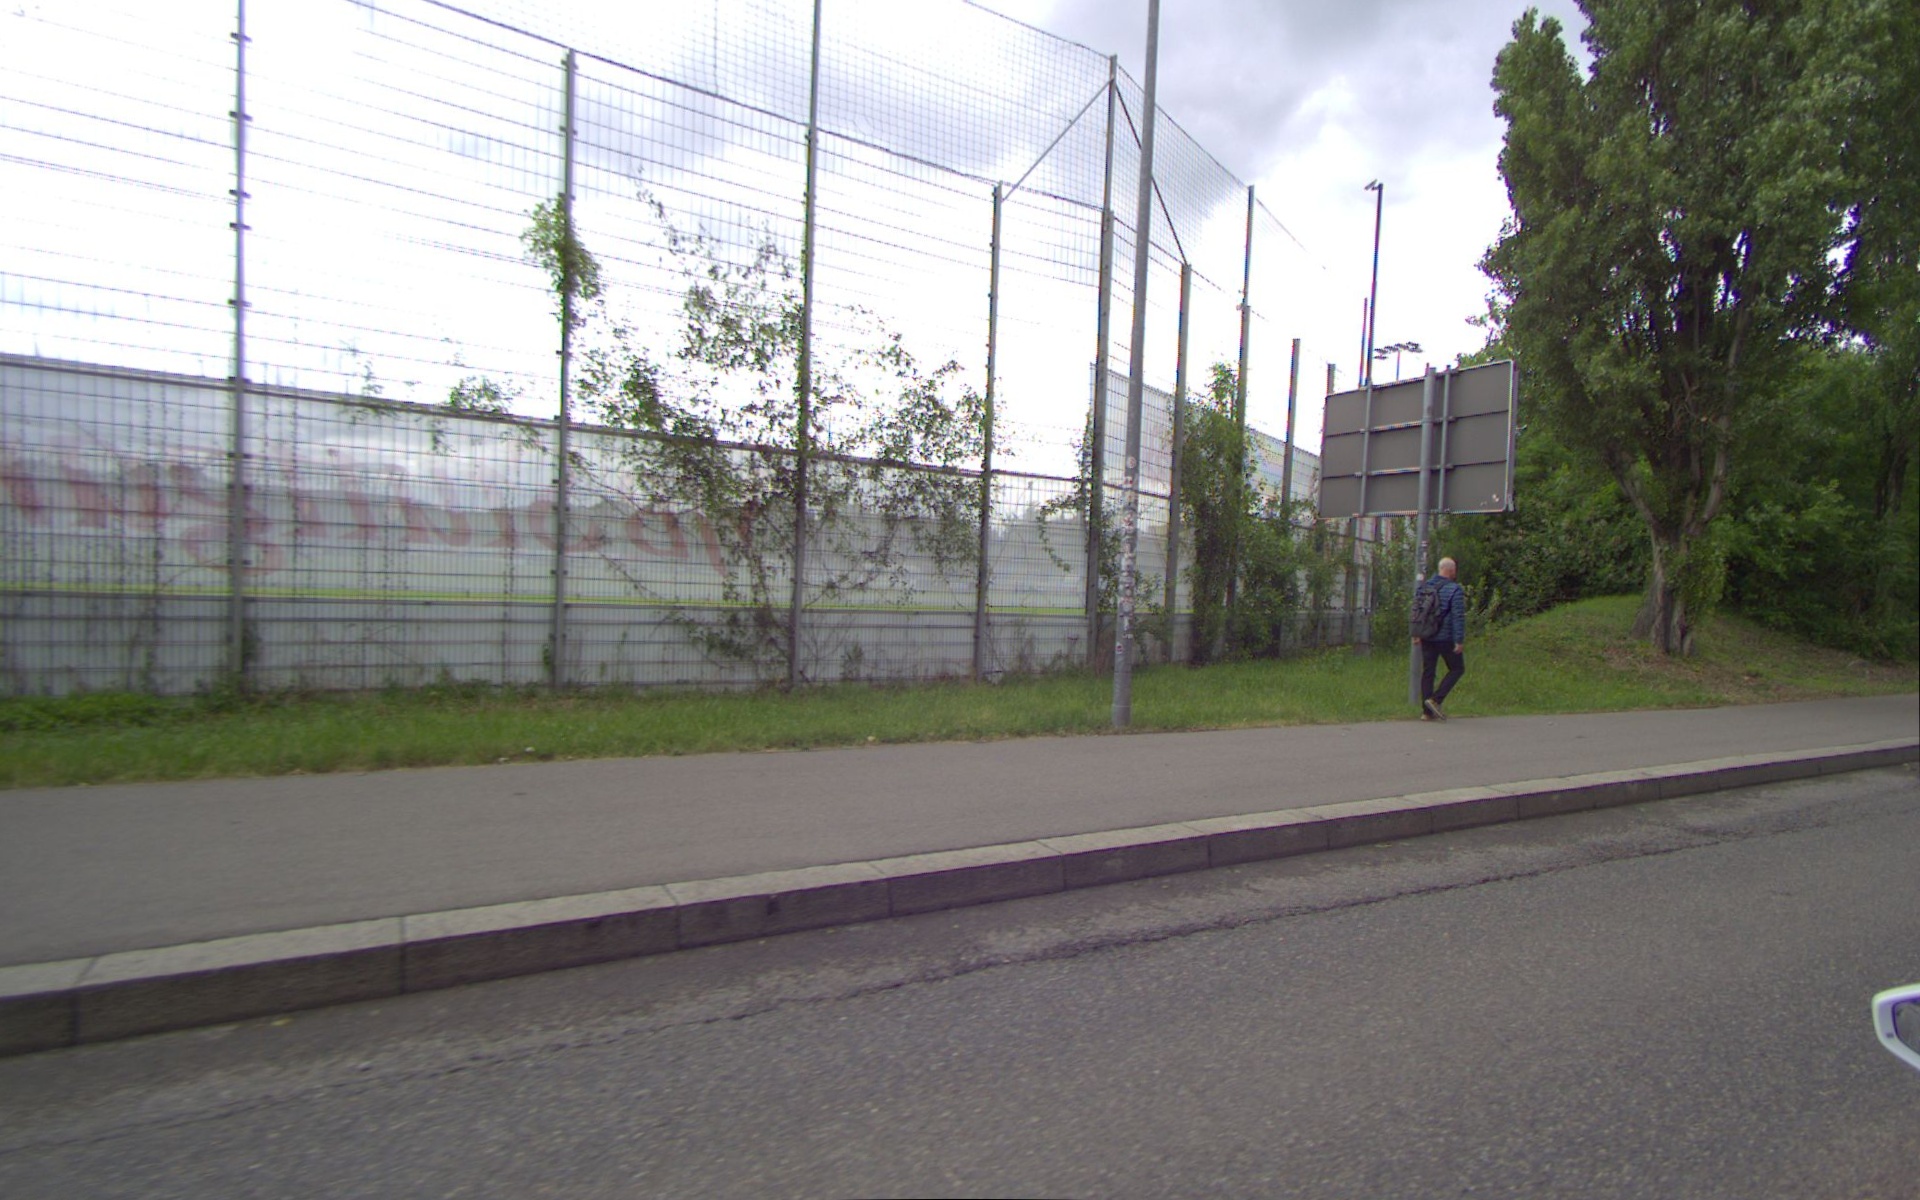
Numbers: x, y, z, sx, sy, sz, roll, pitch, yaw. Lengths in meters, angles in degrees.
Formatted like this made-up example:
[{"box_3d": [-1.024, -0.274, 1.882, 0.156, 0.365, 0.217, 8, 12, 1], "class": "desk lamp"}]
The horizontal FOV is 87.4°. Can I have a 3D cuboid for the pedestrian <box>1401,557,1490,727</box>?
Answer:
[{"box_3d": [5.434, 0.436, 11.293, 0.790, 1.805, 0.920, 2, 2, 22], "class": "pedestrian"}]
